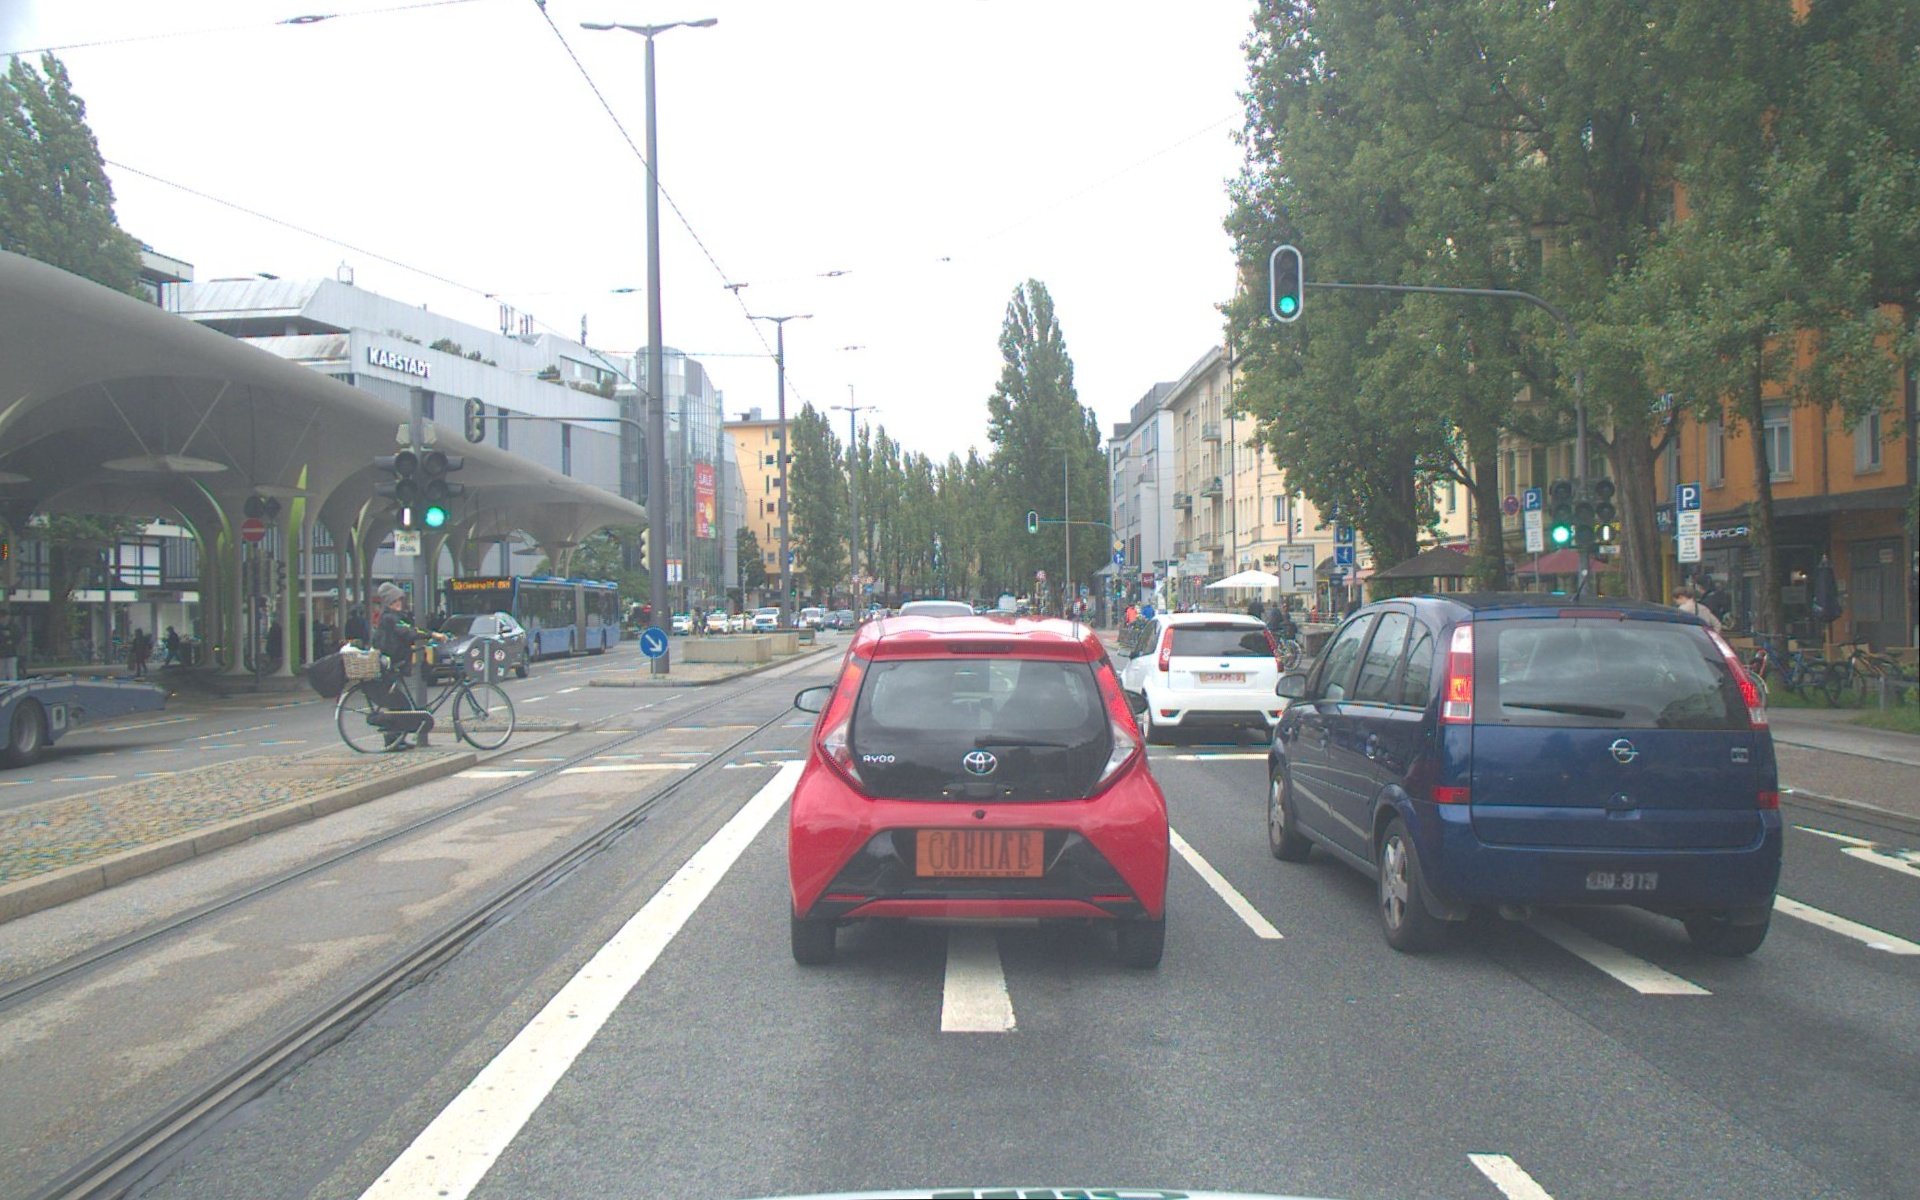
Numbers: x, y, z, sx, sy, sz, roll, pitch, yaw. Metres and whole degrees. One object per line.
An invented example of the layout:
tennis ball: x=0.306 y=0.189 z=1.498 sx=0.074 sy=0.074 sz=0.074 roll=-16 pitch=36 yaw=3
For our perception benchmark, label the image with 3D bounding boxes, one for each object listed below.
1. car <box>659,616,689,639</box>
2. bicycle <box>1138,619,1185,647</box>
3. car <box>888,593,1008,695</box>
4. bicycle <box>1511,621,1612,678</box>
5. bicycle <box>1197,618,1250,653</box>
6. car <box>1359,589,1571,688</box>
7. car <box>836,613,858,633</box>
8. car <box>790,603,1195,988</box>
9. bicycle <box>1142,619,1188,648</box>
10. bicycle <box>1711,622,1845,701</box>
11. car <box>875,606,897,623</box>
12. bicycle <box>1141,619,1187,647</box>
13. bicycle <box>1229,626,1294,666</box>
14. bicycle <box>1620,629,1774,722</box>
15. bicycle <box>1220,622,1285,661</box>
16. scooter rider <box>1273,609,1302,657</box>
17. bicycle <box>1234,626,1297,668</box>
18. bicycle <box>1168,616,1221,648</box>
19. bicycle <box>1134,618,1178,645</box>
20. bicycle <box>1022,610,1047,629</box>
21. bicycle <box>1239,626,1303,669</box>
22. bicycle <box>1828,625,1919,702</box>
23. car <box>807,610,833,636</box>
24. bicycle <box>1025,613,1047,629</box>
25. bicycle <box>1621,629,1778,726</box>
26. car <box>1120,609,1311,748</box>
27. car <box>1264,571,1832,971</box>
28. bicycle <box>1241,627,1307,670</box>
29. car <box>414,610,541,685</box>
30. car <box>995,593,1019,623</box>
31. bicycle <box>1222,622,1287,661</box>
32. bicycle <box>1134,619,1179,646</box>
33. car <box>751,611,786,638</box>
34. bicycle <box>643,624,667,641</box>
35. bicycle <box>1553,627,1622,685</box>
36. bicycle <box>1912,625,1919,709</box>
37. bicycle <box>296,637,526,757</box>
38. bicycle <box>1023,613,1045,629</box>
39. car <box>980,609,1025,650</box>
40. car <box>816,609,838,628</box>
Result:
car: x=-21.443 y=2.065 z=123.722 sx=1.959 sy=1.563 sz=4.400 roll=-2 pitch=0 yaw=-13
bicycle: x=7.631 y=1.253 z=62.679 sx=1.807 sy=1.013 sz=0.346 roll=-2 pitch=-1 yaw=40
car: x=-0.231 y=0.734 z=29.381 sx=1.953 sy=1.646 sz=3.999 roll=-1 pitch=0 yaw=-1
bicycle: x=11.962 y=0.980 z=32.892 sx=1.850 sy=1.072 sz=0.458 roll=-1 pitch=-1 yaw=-4
bicycle: x=8.118 y=1.097 z=51.011 sx=0.322 sy=1.013 sz=1.813 roll=-1 pitch=1 yaw=-43
car: x=8.228 y=0.594 z=27.415 sx=1.954 sy=1.465 sz=4.527 roll=-1 pitch=0 yaw=-3
car: x=-8.780 y=1.791 z=128.923 sx=1.514 sy=1.471 sz=3.538 roll=-2 pitch=0 yaw=-1
car: x=0.143 y=0.761 z=7.987 sx=1.572 sy=1.487 sz=3.130 roll=0 pitch=0 yaw=1
bicycle: x=7.593 y=1.248 z=61.355 sx=1.810 sy=1.013 sz=0.346 roll=-3 pitch=-1 yaw=44
bicycle: x=12.198 y=0.909 z=24.675 sx=1.760 sy=1.129 sz=0.447 roll=1 pitch=0 yaw=1
car: x=-7.696 y=1.503 z=172.092 sx=1.706 sy=1.699 sz=4.735 roll=-2 pitch=0 yaw=5
bicycle: x=7.640 y=1.251 z=62.024 sx=1.807 sy=1.013 sz=0.346 roll=-2 pitch=-1 yaw=40
bicycle: x=7.983 y=1.212 z=43.836 sx=1.811 sy=1.013 sz=0.372 roll=1 pitch=1 yaw=45
bicycle: x=9.243 y=0.942 z=20.781 sx=1.709 sy=1.122 sz=0.358 roll=-2 pitch=-1 yaw=35
bicycle: x=7.990 y=1.116 z=45.266 sx=1.806 sy=1.013 sz=0.373 roll=0 pitch=1 yaw=38
scooter rider: x=9.826 y=0.998 z=49.607 sx=0.686 sy=1.413 sz=0.643 roll=-1 pitch=0 yaw=-2
bicycle: x=7.966 y=1.209 z=43.141 sx=0.372 sy=1.013 sz=1.816 roll=-1 pitch=1 yaw=-39
bicycle: x=7.739 y=1.061 z=54.725 sx=1.805 sy=1.013 sz=0.324 roll=0 pitch=1 yaw=37
bicycle: x=7.696 y=1.258 z=65.012 sx=1.807 sy=1.013 sz=0.346 roll=-2 pitch=-1 yaw=40
bicycle: x=5.103 y=1.334 z=112.793 sx=1.773 sy=1.219 sz=0.555 roll=-1 pitch=0 yaw=43
bicycle: x=7.951 y=1.205 z=42.377 sx=0.372 sy=1.013 sz=1.816 roll=-1 pitch=1 yaw=-39
bicycle: x=13.978 y=0.940 z=24.712 sx=1.760 sy=1.129 sz=0.447 roll=0 pitch=0 yaw=1
car: x=-10.800 y=1.753 z=127.717 sx=1.750 sy=1.887 sz=4.215 roll=-2 pitch=0 yaw=-3
bicycle: x=5.110 y=1.415 z=111.276 sx=0.495 sy=1.046 sz=1.576 roll=-1 pitch=0 yaw=-42
bicycle: x=8.955 y=0.925 z=20.084 sx=0.356 sy=1.122 sz=1.716 roll=-1 pitch=-1 yaw=-44
car: x=2.930 y=0.856 z=19.604 sx=1.665 sy=1.451 sz=3.496 roll=1 pitch=0 yaw=-1
car: x=2.767 y=0.713 z=8.637 sx=1.668 sy=1.617 sz=3.556 roll=1 pitch=0 yaw=0
bicycle: x=7.911 y=1.202 z=41.735 sx=0.372 sy=1.013 sz=1.816 roll=-1 pitch=1 yaw=-39
car: x=-11.917 y=1.126 z=41.176 sx=1.825 sy=1.667 sz=4.676 roll=-3 pitch=0 yaw=-1
car: x=4.487 y=0.737 z=158.466 sx=2.064 sy=2.766 sz=4.803 roll=-1 pitch=0 yaw=0
bicycle: x=7.938 y=1.112 z=44.583 sx=1.809 sy=1.013 sz=0.373 roll=1 pitch=1 yaw=42
bicycle: x=7.528 y=1.255 z=63.486 sx=1.807 sy=1.013 sz=0.346 roll=-2 pitch=-1 yaw=40
car: x=-14.595 y=1.820 z=126.424 sx=2.131 sy=1.920 sz=6.153 roll=-1 pitch=0 yaw=-2
bicycle: x=-21.156 y=2.232 z=114.756 sx=1.541 sy=1.131 sz=0.373 roll=-1 pitch=0 yaw=3
bicycle: x=11.197 y=0.988 z=29.573 sx=0.577 sy=0.982 sz=1.653 roll=-1 pitch=0 yaw=0
bicycle: x=12.891 y=0.847 z=20.856 sx=1.539 sy=1.069 sz=0.392 roll=0 pitch=-1 yaw=0
bicycle: x=-5.631 y=0.970 z=17.047 sx=2.200 sy=1.170 sz=0.501 roll=1 pitch=-1 yaw=-30
bicycle: x=5.029 y=1.415 z=112.131 sx=0.495 sy=1.046 sz=1.576 roll=-1 pitch=0 yaw=-42
car: x=1.989 y=1.362 z=77.892 sx=1.953 sy=1.870 sz=3.999 roll=-1 pitch=0 yaw=-1
car: x=-11.258 y=1.555 z=139.841 sx=1.644 sy=1.420 sz=4.231 roll=-3 pitch=0 yaw=-2
